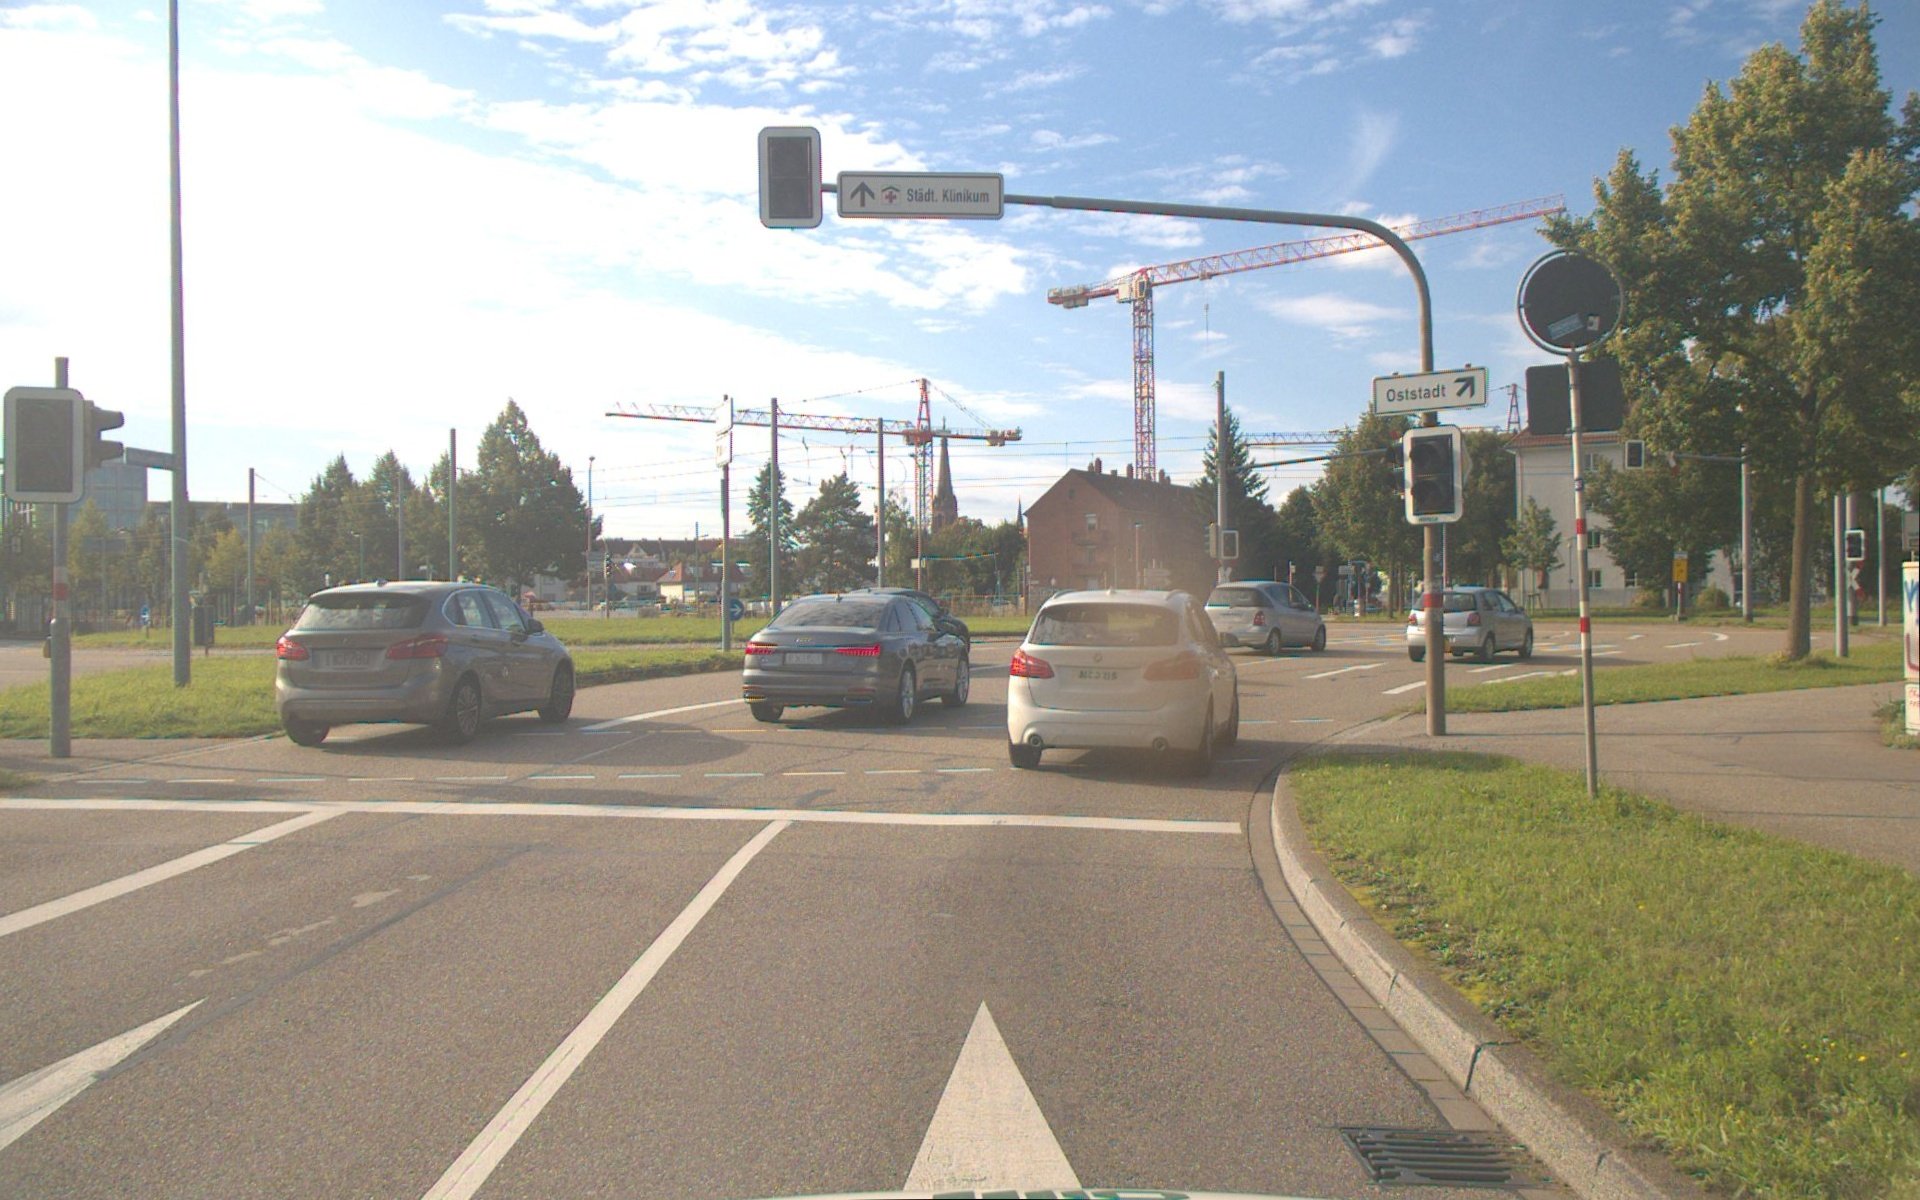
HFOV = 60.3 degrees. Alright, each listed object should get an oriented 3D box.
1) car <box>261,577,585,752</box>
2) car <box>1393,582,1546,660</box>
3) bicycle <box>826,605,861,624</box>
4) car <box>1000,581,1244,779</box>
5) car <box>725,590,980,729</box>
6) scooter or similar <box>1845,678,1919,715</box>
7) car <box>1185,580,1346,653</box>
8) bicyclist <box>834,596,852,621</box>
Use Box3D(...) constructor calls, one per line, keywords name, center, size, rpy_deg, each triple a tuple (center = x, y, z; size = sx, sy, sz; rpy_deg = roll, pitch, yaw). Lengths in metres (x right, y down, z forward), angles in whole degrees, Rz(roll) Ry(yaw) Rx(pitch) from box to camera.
Box3D(name="car", center=(-5.409, 0.589, 17.250), size=(1.730, 1.600, 4.070), rpy_deg=(0, 0, 5))
Box3D(name="car", center=(10.445, 0.375, 33.706), size=(1.818, 1.451, 4.441), rpy_deg=(0, 1, 34))
Box3D(name="bicycle", center=(-7.627, 0.948, 108.036), size=(2.097, 1.157, 0.773), rpy_deg=(-2, 0, 12))
Box3D(name="car", center=(1.690, 0.651, 15.786), size=(1.811, 1.600, 4.458), rpy_deg=(0, 0, 12))
Box3D(name="car", center=(-1.144, 0.629, 20.080), size=(1.811, 1.470, 4.719), rpy_deg=(0, 0, 13))
Box3D(name="scooter or similar", center=(10.014, 0.966, 16.682), size=(1.529, 0.286, 1.283), rpy_deg=(-1, 0, -25))
Box3D(name="car", center=(6.854, 0.319, 36.787), size=(1.819, 1.503, 4.438), rpy_deg=(0, 1, 36))
Box3D(name="bicyclist", center=(-7.648, 0.549, 108.038), size=(0.936, 1.602, 0.773), rpy_deg=(-2, 0, 12))
